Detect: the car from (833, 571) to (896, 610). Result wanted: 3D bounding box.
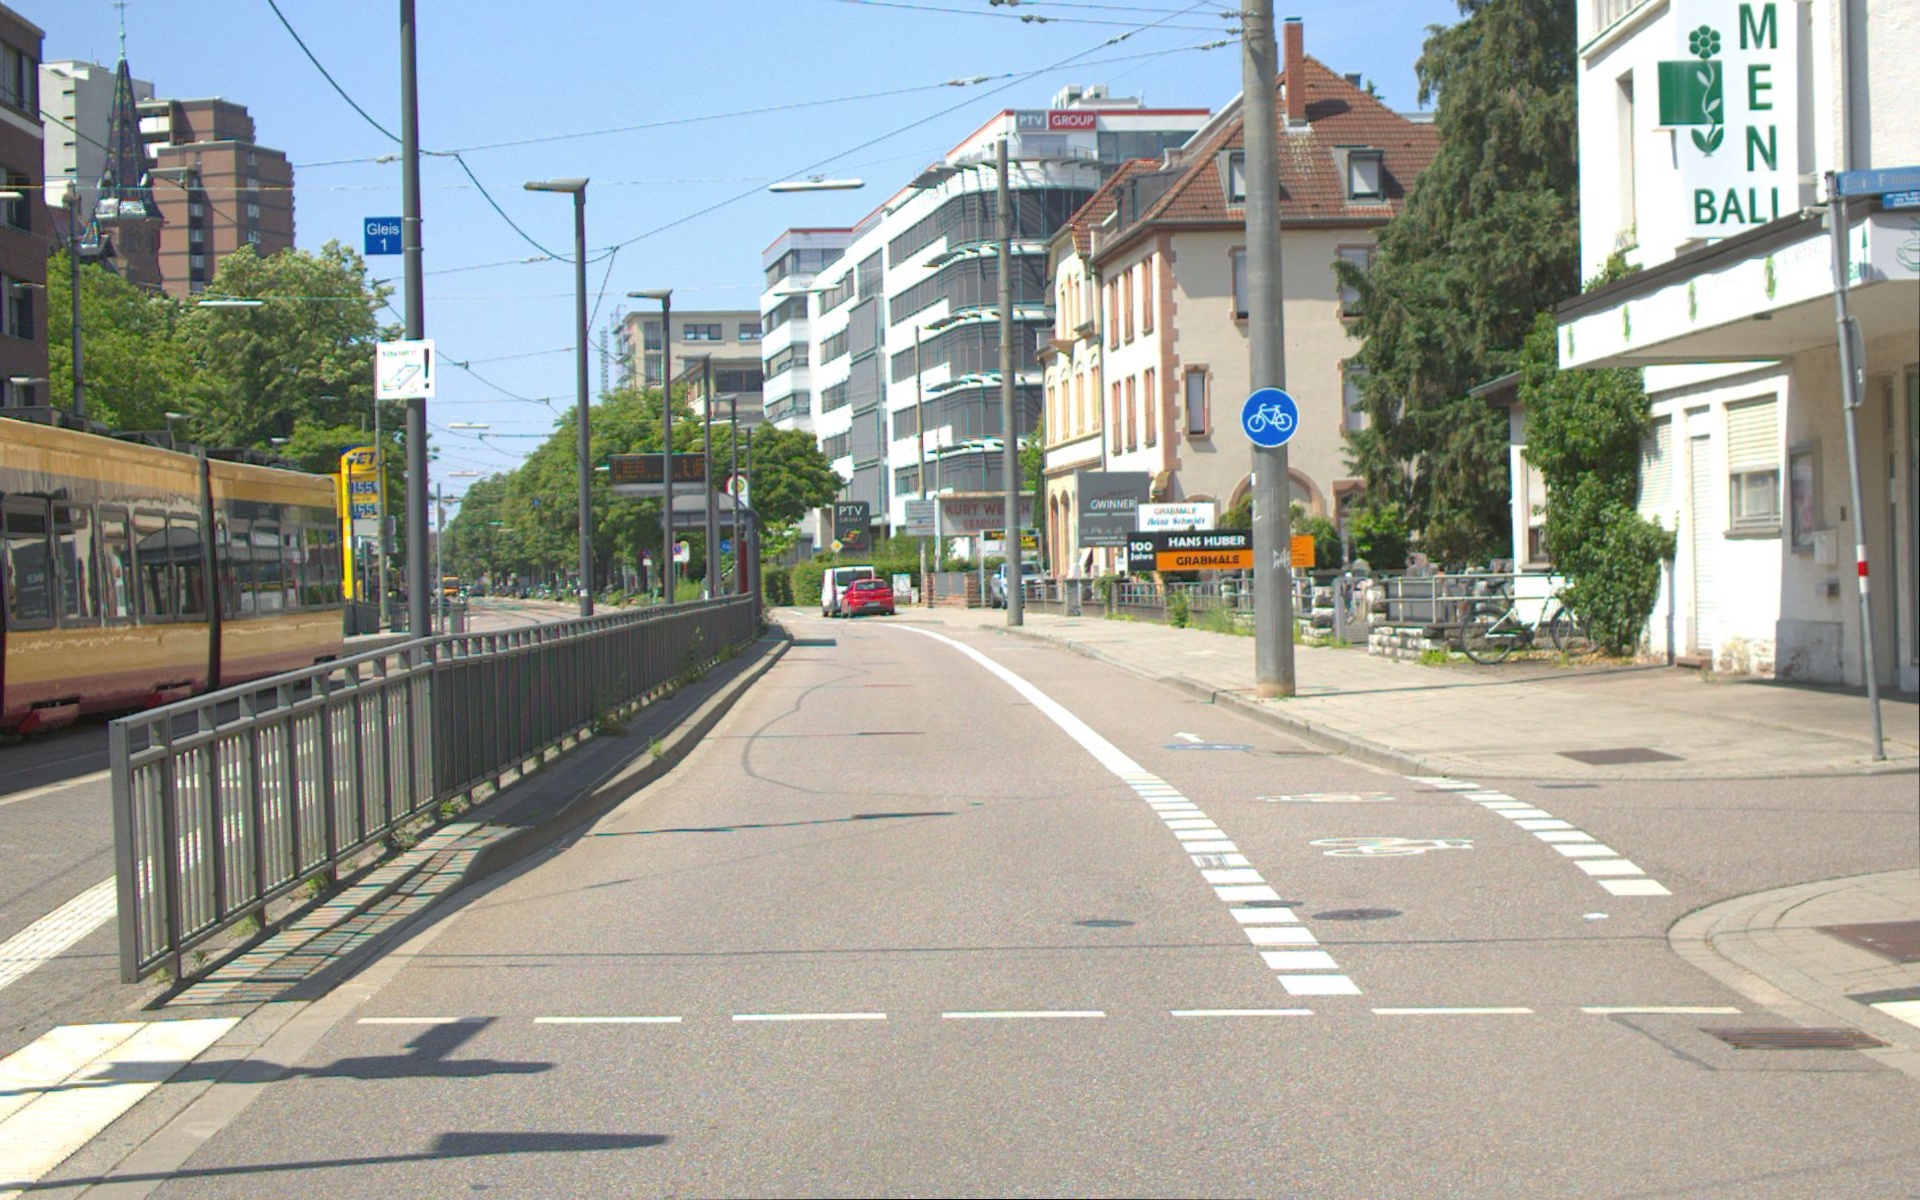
[{"bbox_3d":[-3.666,-0.361,130.998,1.993,1.437,4.017,-1,0,-7],"label":"car"}]

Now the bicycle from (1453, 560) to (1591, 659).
[{"bbox_3d":[6.640,0.106,40.653,1.533,1.082,0.429,-3,0,5],"label":"bicycle"}]

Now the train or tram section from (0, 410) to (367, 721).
[{"bbox_3d":[-11.147,-0.398,47.985,3.235,3.555,16.350,-2,0,-1],"label":"train or tram section"}]

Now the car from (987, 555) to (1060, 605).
[{"bbox_3d":[2.226,-0.697,121.414,1.877,1.619,4.640,-4,1,-6],"label":"car"}]

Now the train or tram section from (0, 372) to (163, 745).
[{"bbox_3d":[-10.676,-0.350,29.659,3.250,3.555,20.502,-2,0,-1],"label":"train or tram section"}]

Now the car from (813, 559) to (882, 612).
[{"bbox_3d":[-4.533,-0.586,137.855,1.993,1.985,5.516,-3,1,-9],"label":"car"}]
